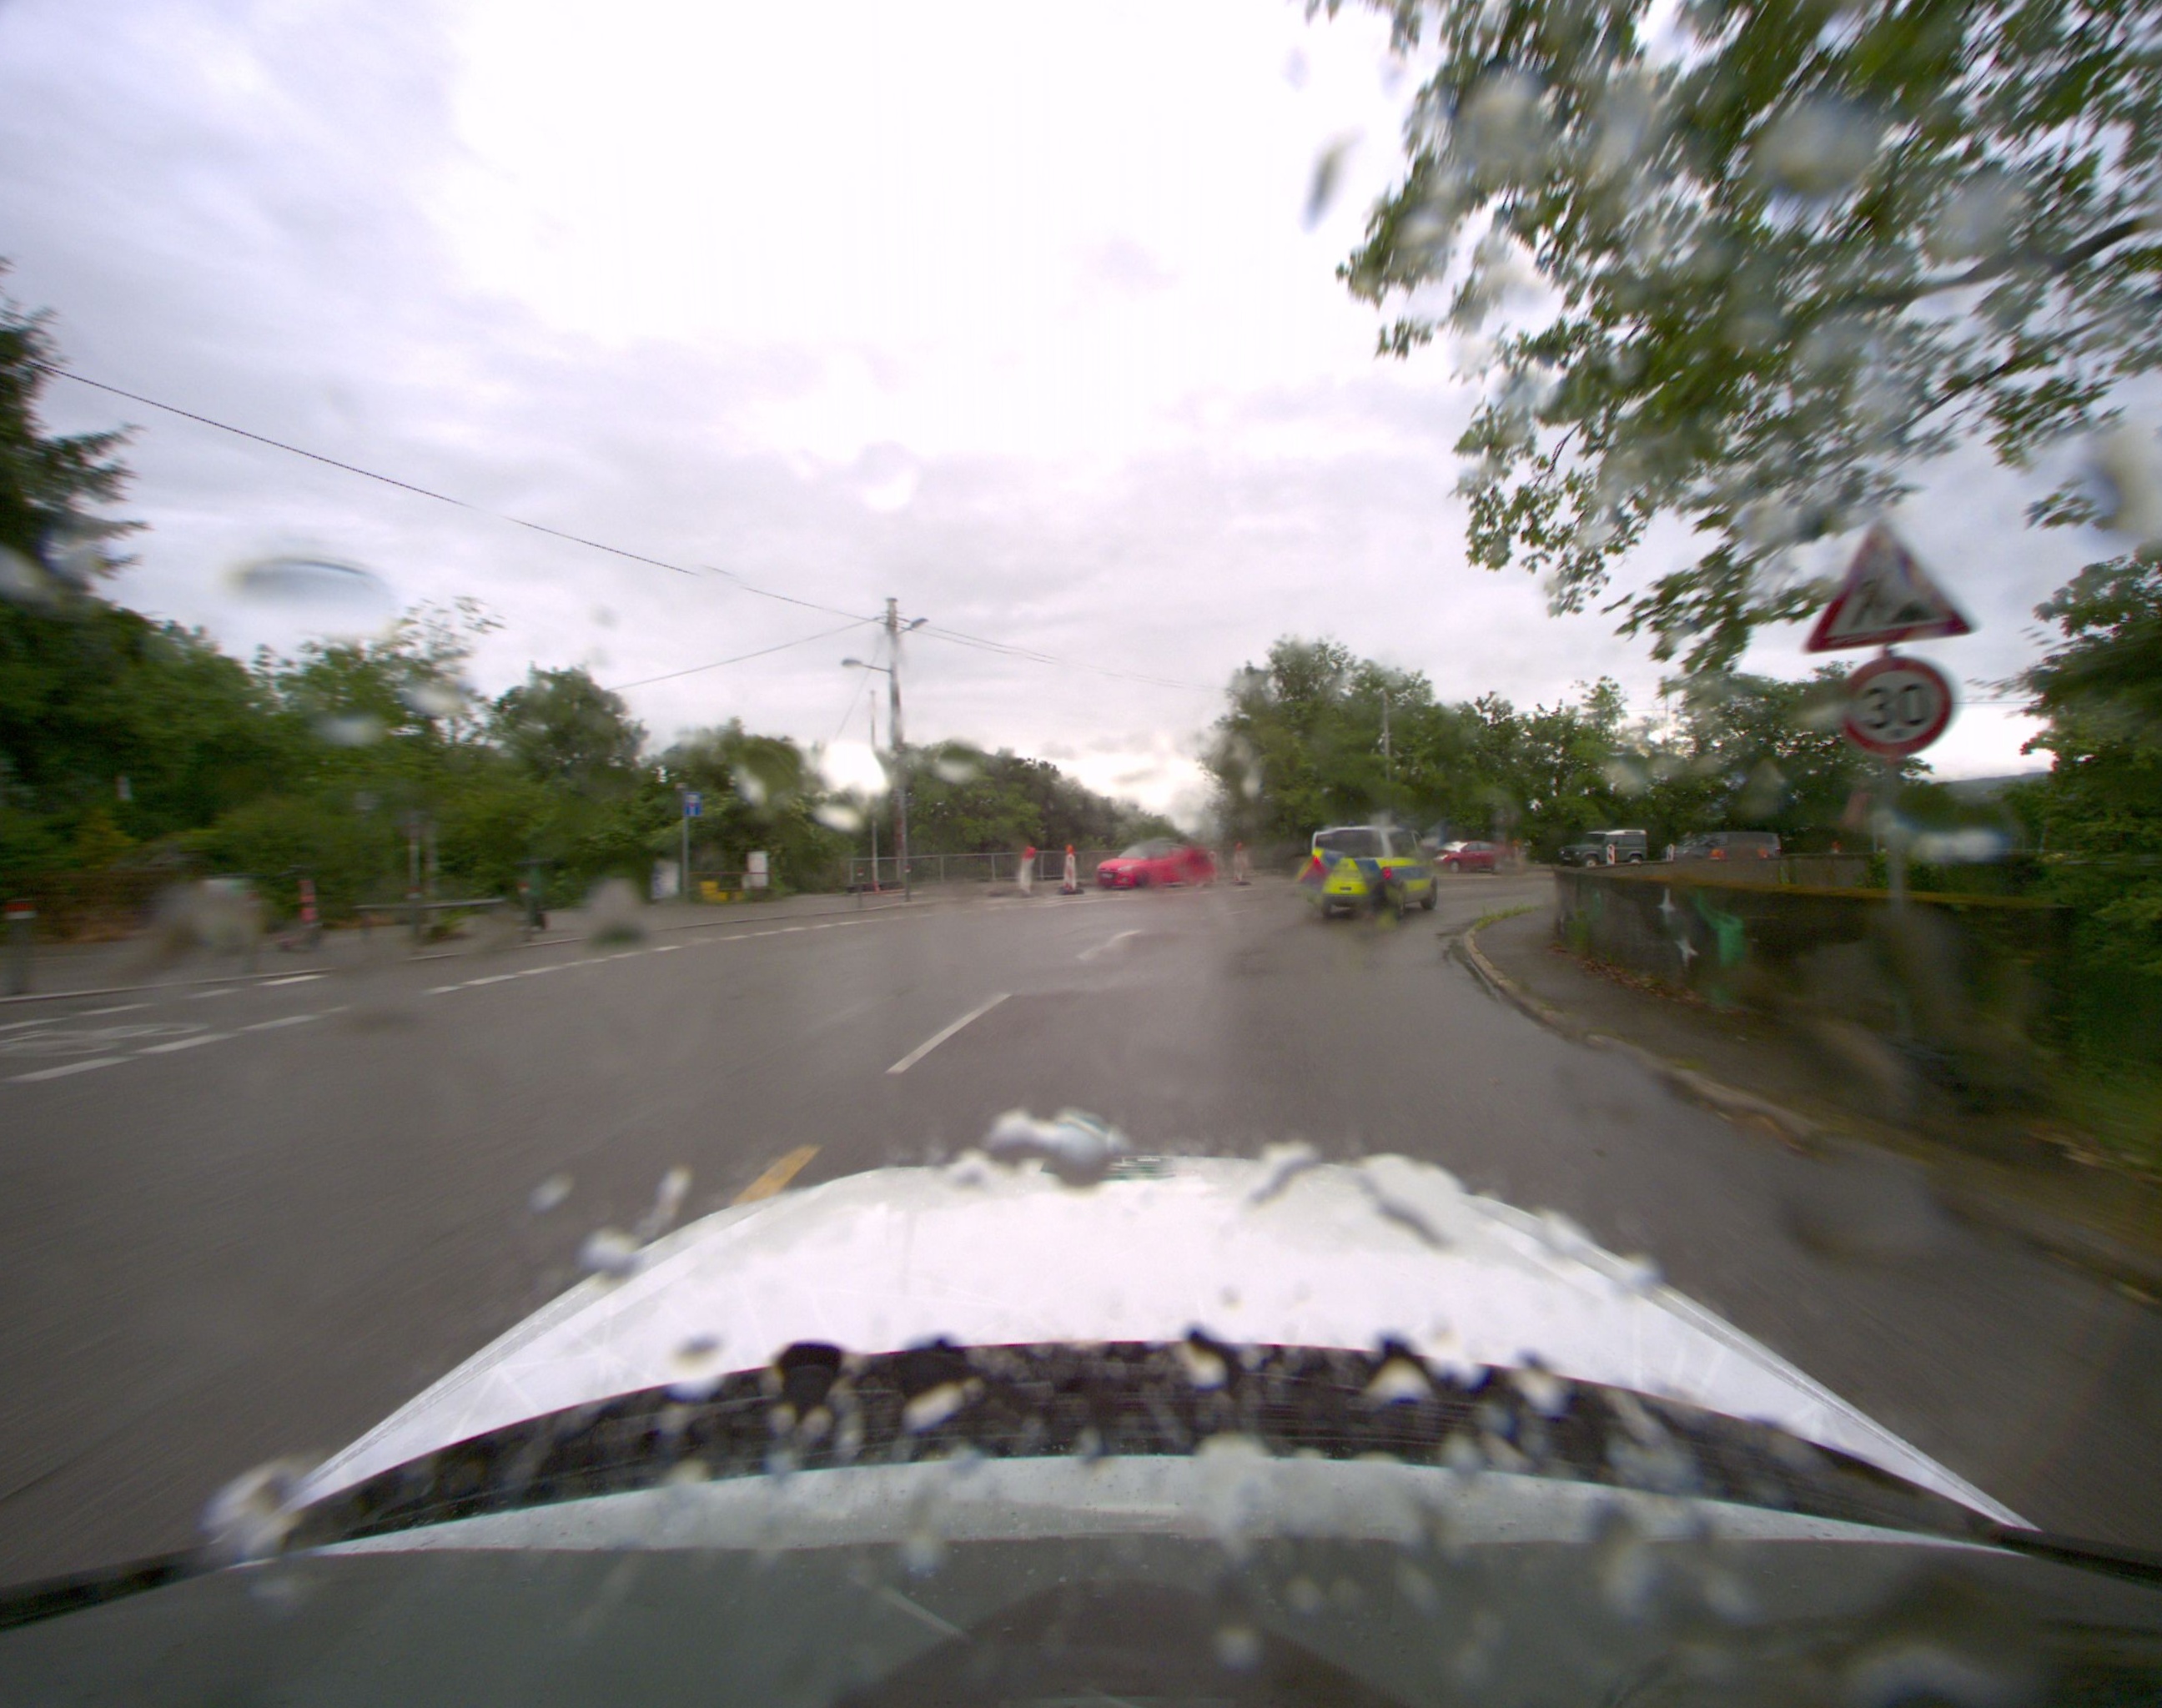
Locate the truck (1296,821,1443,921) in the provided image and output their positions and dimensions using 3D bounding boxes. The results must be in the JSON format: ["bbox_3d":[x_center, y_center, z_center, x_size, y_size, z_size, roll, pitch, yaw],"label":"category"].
[{"bbox_3d":[6.798,0.327,18.834,1.974,2.013,4.765,0,0,35],"label":"truck"}]

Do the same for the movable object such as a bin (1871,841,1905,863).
[{"bbox_3d":[42.508,-0.109,42.914,1.015,1.106,0.995,0,1,25],"label":"movable object such as a bin"}]

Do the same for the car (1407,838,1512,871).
[{"bbox_3d":[17.644,-0.016,37.969,4.321,1.439,1.954,-1,2,-19],"label":"car"}]

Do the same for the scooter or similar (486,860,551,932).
[{"bbox_3d":[-9.714,0.718,14.054,1.027,1.218,0.244,0,0,8],"label":"scooter or similar"}]

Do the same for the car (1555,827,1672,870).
[{"bbox_3d":[26.115,-0.300,40.035,4.796,2.013,1.866,-1,3,-9],"label":"car"}]

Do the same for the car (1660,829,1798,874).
[{"bbox_3d":[31.565,-0.149,39.826,4.905,2.013,2.005,1,3,7],"label":"car"}]

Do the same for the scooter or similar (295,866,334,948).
[{"bbox_3d":[-11.382,0.763,12.086,1.024,1.164,0.245,0,0,37],"label":"scooter or similar"}]

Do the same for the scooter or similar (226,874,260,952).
[{"bbox_3d":[-12.133,0.832,11.781,1.024,1.069,0.245,0,0,38],"label":"scooter or similar"}]

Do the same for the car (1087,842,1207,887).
[{"bbox_3d":[2.294,0.328,27.417,4.159,1.398,1.670,0,0,-43],"label":"car"}]
